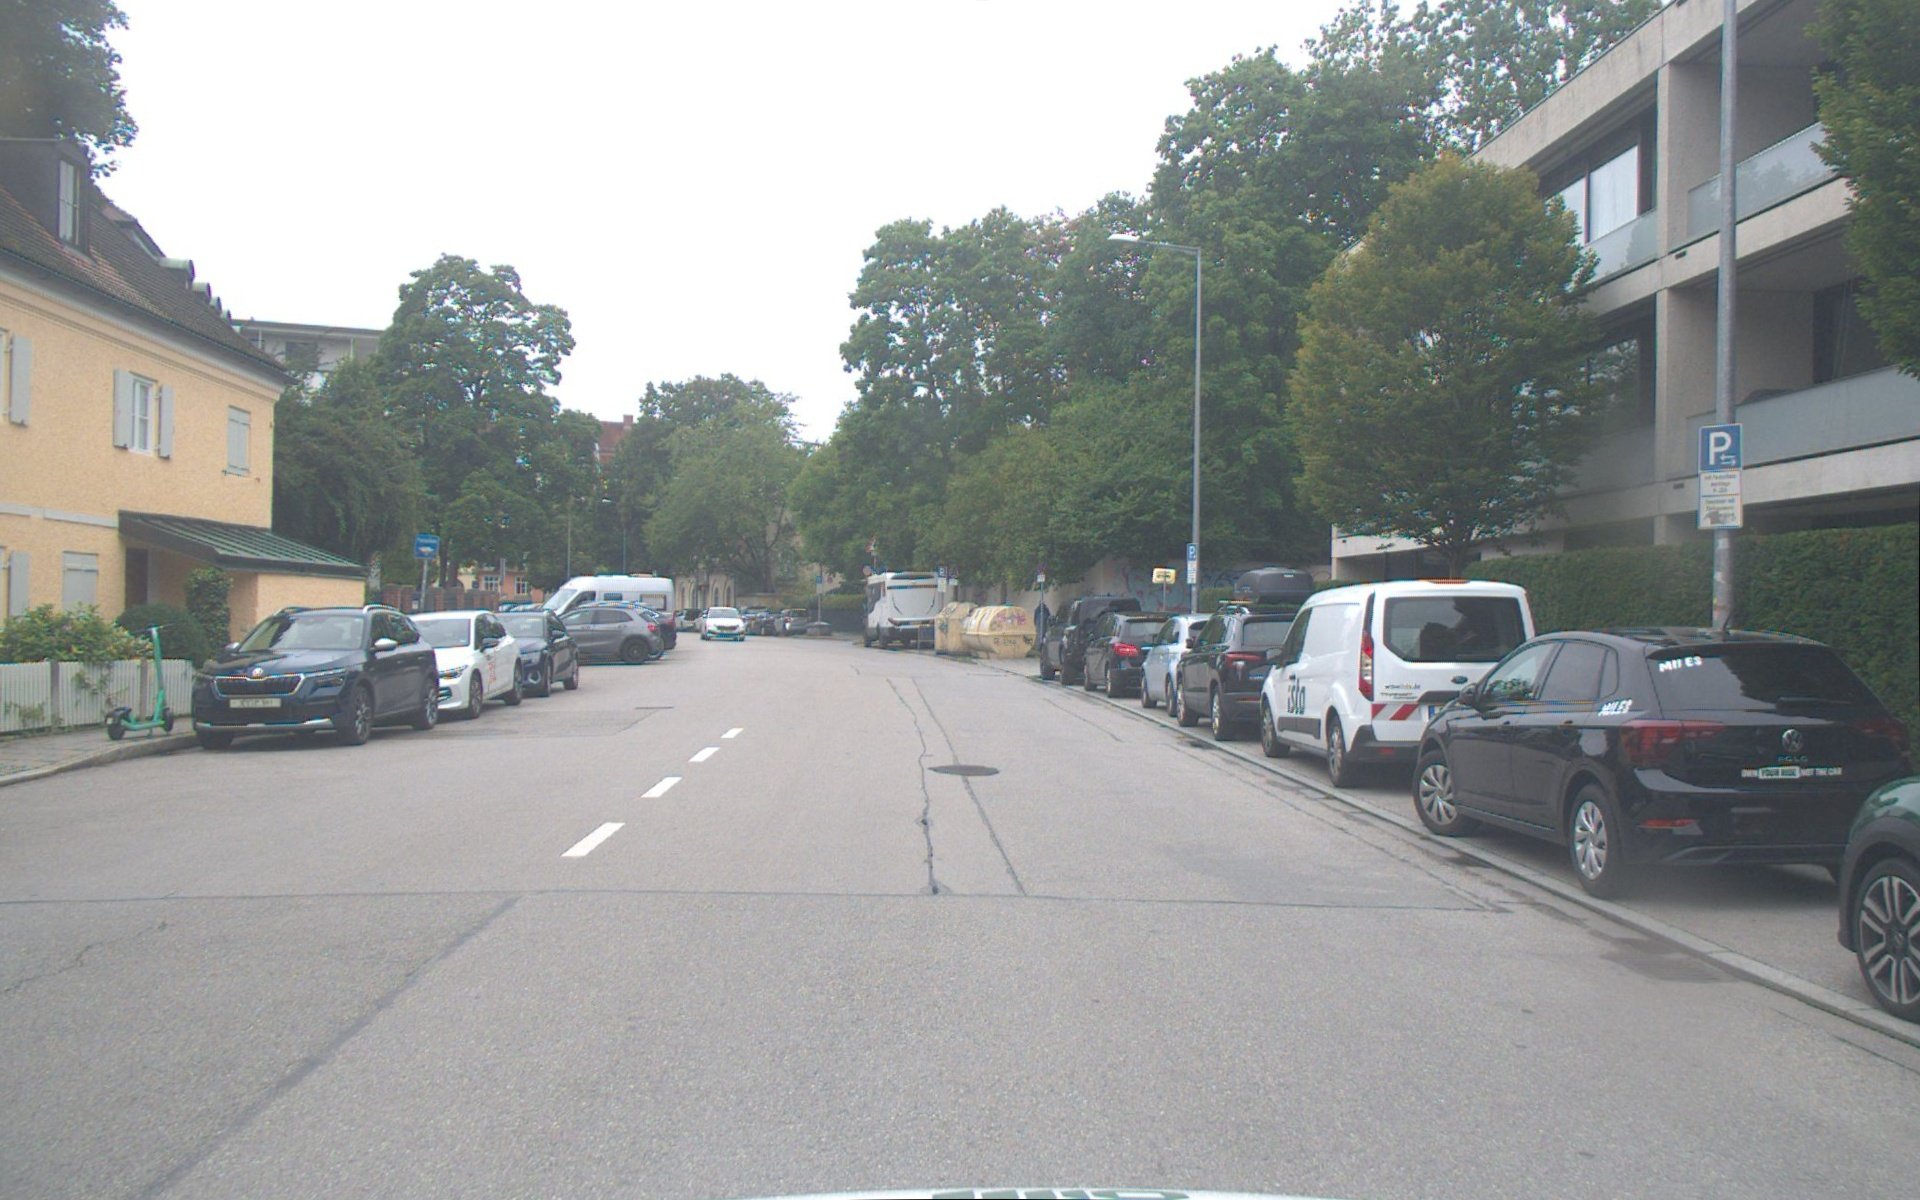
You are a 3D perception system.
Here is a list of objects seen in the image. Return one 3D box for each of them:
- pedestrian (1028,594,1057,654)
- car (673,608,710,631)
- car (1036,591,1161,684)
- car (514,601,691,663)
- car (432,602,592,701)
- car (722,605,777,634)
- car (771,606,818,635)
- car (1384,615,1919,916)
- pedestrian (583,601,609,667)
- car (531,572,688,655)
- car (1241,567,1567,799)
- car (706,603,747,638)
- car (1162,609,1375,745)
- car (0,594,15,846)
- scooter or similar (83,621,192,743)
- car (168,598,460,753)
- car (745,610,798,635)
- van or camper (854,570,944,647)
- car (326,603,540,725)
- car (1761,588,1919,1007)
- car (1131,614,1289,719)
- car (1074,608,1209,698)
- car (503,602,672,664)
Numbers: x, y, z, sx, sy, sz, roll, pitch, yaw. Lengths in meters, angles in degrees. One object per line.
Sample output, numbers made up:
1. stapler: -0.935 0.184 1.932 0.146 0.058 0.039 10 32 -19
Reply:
1. pedestrian: 2.794 0.815 56.381 0.784 2.020 0.627 1 -1 -21
2. car: -18.675 1.356 114.948 1.683 1.564 4.211 -1 0 -22
3. car: 3.020 0.835 37.206 1.949 1.904 5.072 1 -1 -5
4. car: -9.983 0.879 46.360 4.478 1.622 1.940 -1 0 -37
5. car: -7.794 0.842 29.204 1.809 1.562 4.558 -2 0 -4
6. car: -12.949 1.166 101.488 1.969 1.741 4.845 -1 0 -25
7. car: -9.370 1.176 93.536 1.717 1.563 2.922 -1 -1 -25
8. car: 4.177 0.857 10.507 1.713 1.489 4.240 0 0 -3
9. pedestrian: -9.363 0.869 42.520 0.579 1.676 0.712 -2 0 -11
10. car: -11.501 0.414 54.386 4.587 2.608 2.205 0 0 -37
11. car: 4.163 0.705 16.389 1.785 1.893 4.897 2 0 -1
12. car: -10.425 0.905 73.783 1.739 1.501 4.125 1 0 -9
13. car: 3.872 0.905 21.530 1.713 1.506 4.595 1 0 -3
14. car: -6.744 0.761 8.246 1.743 1.562 4.226 -2 0 -2
15. scooter or similar: -8.620 0.838 17.386 0.443 1.209 1.370 2 -1 -2
16. car: -7.410 0.817 19.477 1.808 1.562 4.439 -2 -1 -2
17. car: -11.109 1.308 97.260 1.853 1.452 4.188 -1 0 -25
18. van or camper: -2.594 0.356 68.183 2.234 2.957 7.249 1 0 -14
19. car: -7.592 0.856 24.292 1.808 1.562 4.519 -2 0 -2
20. car: 4.453 0.724 5.177 1.692 1.556 4.202 -1 0 -3
21. car: 3.861 0.989 26.147 1.713 1.506 3.885 1 0 -3
22. car: 3.406 0.960 31.851 1.714 1.566 4.564 1 0 -5
23. car: -9.833 0.882 43.601 4.261 1.557 1.925 1 -2 -17
